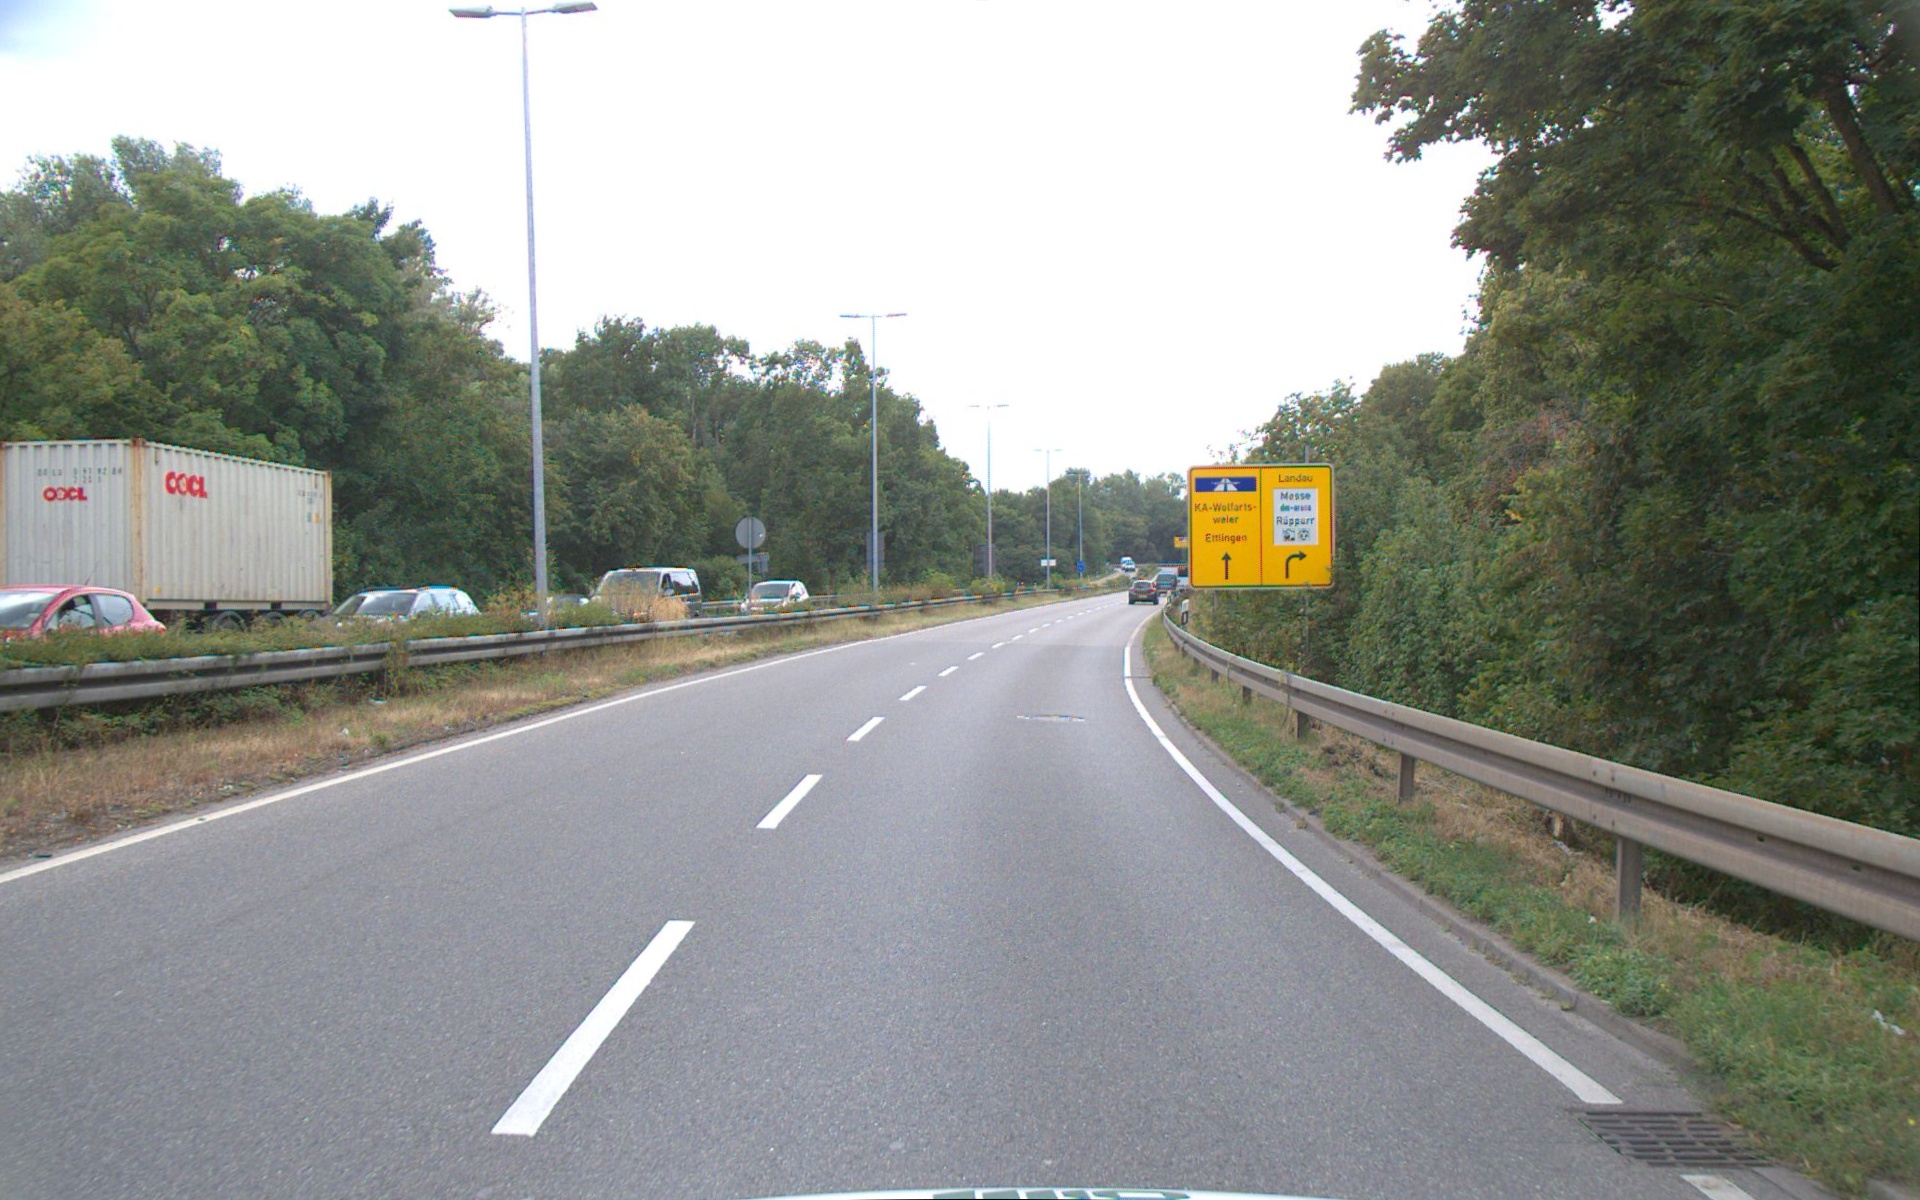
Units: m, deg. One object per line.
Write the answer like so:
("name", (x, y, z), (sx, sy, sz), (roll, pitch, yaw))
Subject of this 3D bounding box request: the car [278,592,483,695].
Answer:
("car", (-10.255, 0.736, 29.647), (1.801, 1.696, 4.338), (0, 0, 5))

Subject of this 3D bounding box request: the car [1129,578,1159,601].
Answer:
("car", (11.585, -0.660, 103.931), (1.591, 1.402, 4.003), (0, 0, 10))

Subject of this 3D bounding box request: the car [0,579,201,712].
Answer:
("car", (-11.281, 0.513, 20.303), (1.766, 1.457, 4.128), (0, 0, 4))

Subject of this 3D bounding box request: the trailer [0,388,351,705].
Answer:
("trailer", (-13.576, -0.688, 26.750), (2.481, 4.220, 10.778), (0, 0, 6))

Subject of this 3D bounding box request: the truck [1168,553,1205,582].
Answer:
("truck", (25.011, -3.534, 182.552), (2.917, 2.935, 7.995), (0, 0, 16))

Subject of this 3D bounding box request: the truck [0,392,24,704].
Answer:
("truck", (-14.306, -0.715, 19.848), (2.513, 4.155, 5.626), (0, 0, 6))

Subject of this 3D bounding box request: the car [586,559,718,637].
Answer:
("car", (-7.945, -0.033, 43.229), (1.967, 1.896, 5.281), (0, 0, 6))
